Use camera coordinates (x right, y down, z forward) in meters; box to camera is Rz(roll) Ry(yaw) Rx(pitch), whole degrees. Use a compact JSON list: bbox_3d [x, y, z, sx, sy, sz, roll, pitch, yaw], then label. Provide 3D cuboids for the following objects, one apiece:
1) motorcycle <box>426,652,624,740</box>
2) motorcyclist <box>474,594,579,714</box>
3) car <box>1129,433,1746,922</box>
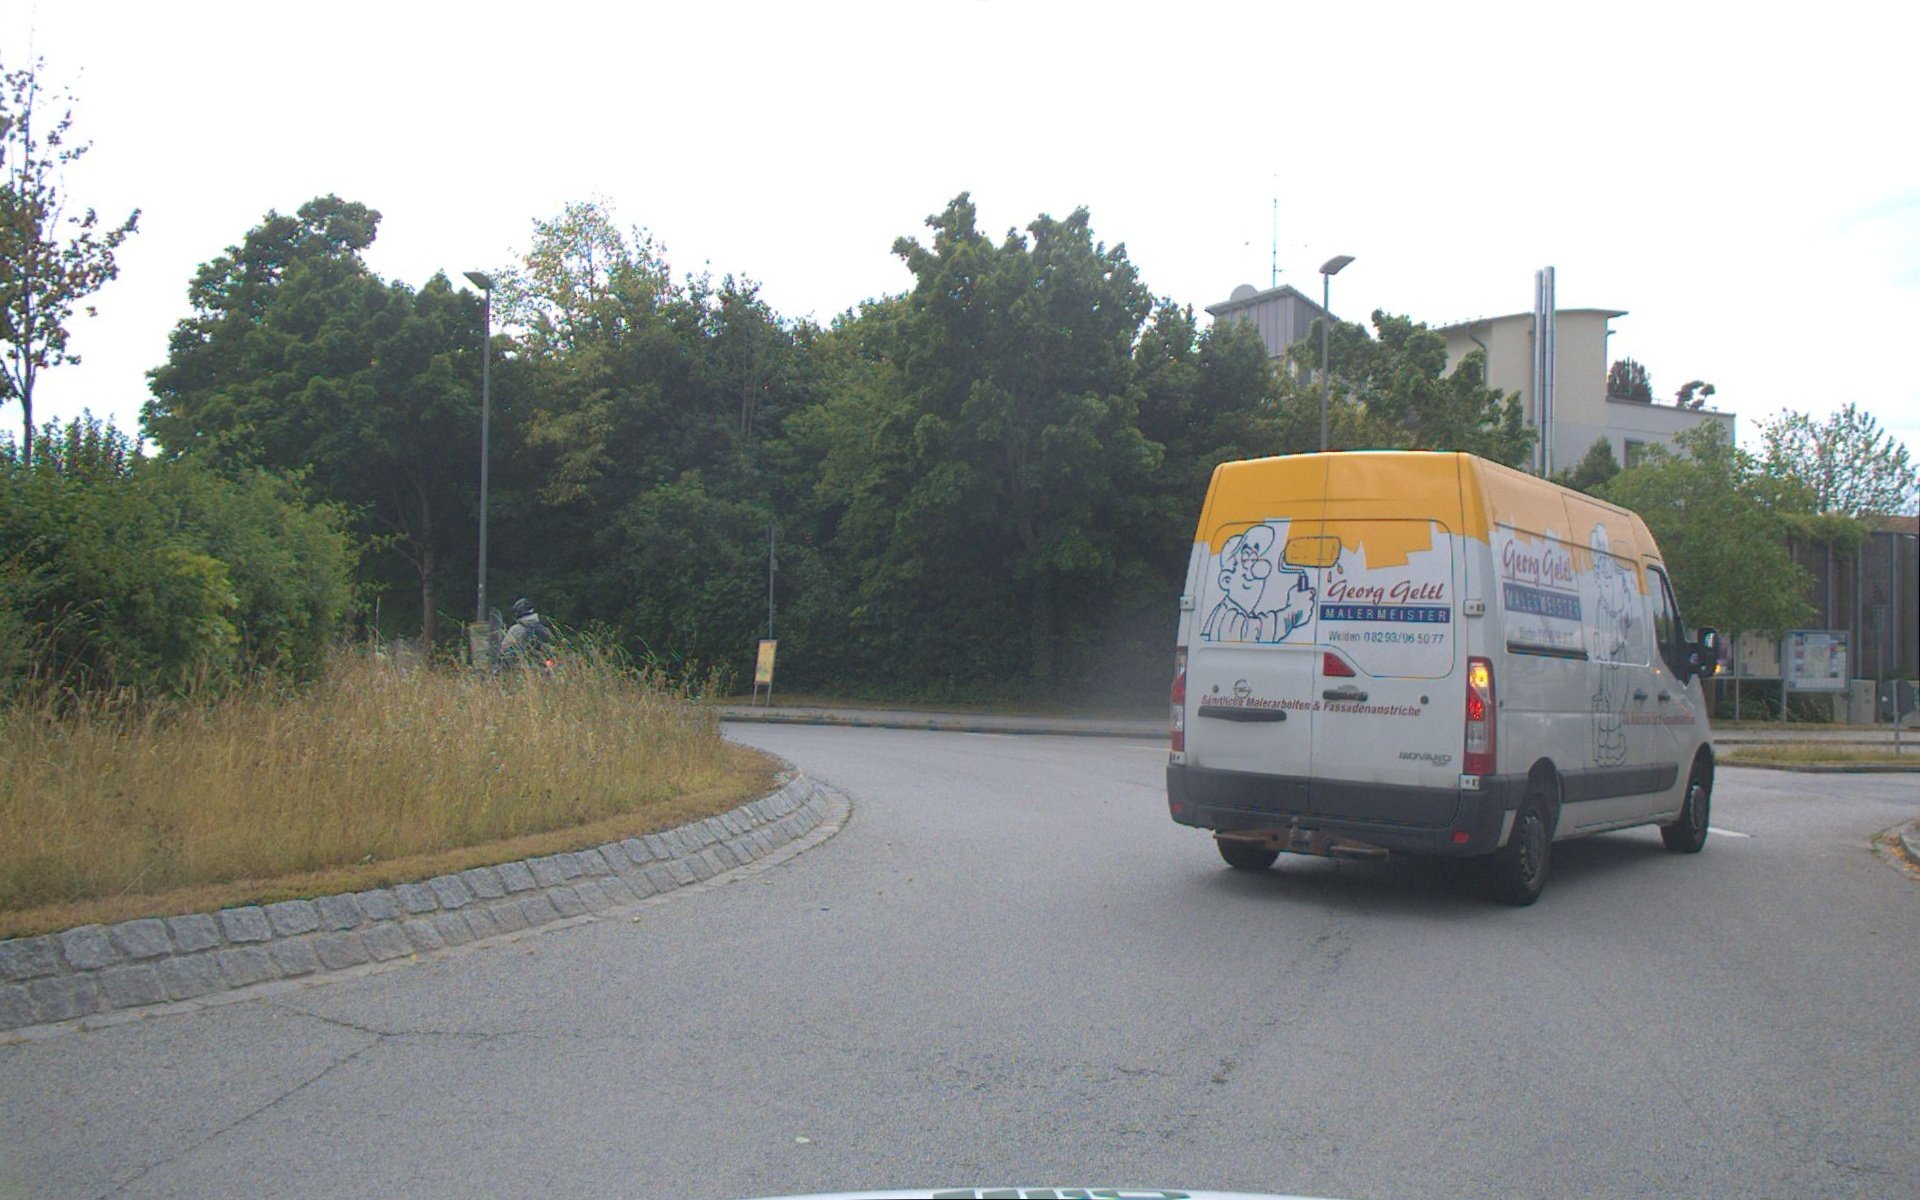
[{"bbox_3d":[-6.188,1.351,23.589,2.556,1.178,0.900,1,-2,9],"label":"motorcycle"},{"bbox_3d":[-6.171,0.767,23.600,1.161,1.652,0.864,1,-2,9],"label":"motorcyclist"},{"bbox_3d":[3.526,0.476,11.247,2.128,2.495,5.416,1,-2,38],"label":"car"}]
